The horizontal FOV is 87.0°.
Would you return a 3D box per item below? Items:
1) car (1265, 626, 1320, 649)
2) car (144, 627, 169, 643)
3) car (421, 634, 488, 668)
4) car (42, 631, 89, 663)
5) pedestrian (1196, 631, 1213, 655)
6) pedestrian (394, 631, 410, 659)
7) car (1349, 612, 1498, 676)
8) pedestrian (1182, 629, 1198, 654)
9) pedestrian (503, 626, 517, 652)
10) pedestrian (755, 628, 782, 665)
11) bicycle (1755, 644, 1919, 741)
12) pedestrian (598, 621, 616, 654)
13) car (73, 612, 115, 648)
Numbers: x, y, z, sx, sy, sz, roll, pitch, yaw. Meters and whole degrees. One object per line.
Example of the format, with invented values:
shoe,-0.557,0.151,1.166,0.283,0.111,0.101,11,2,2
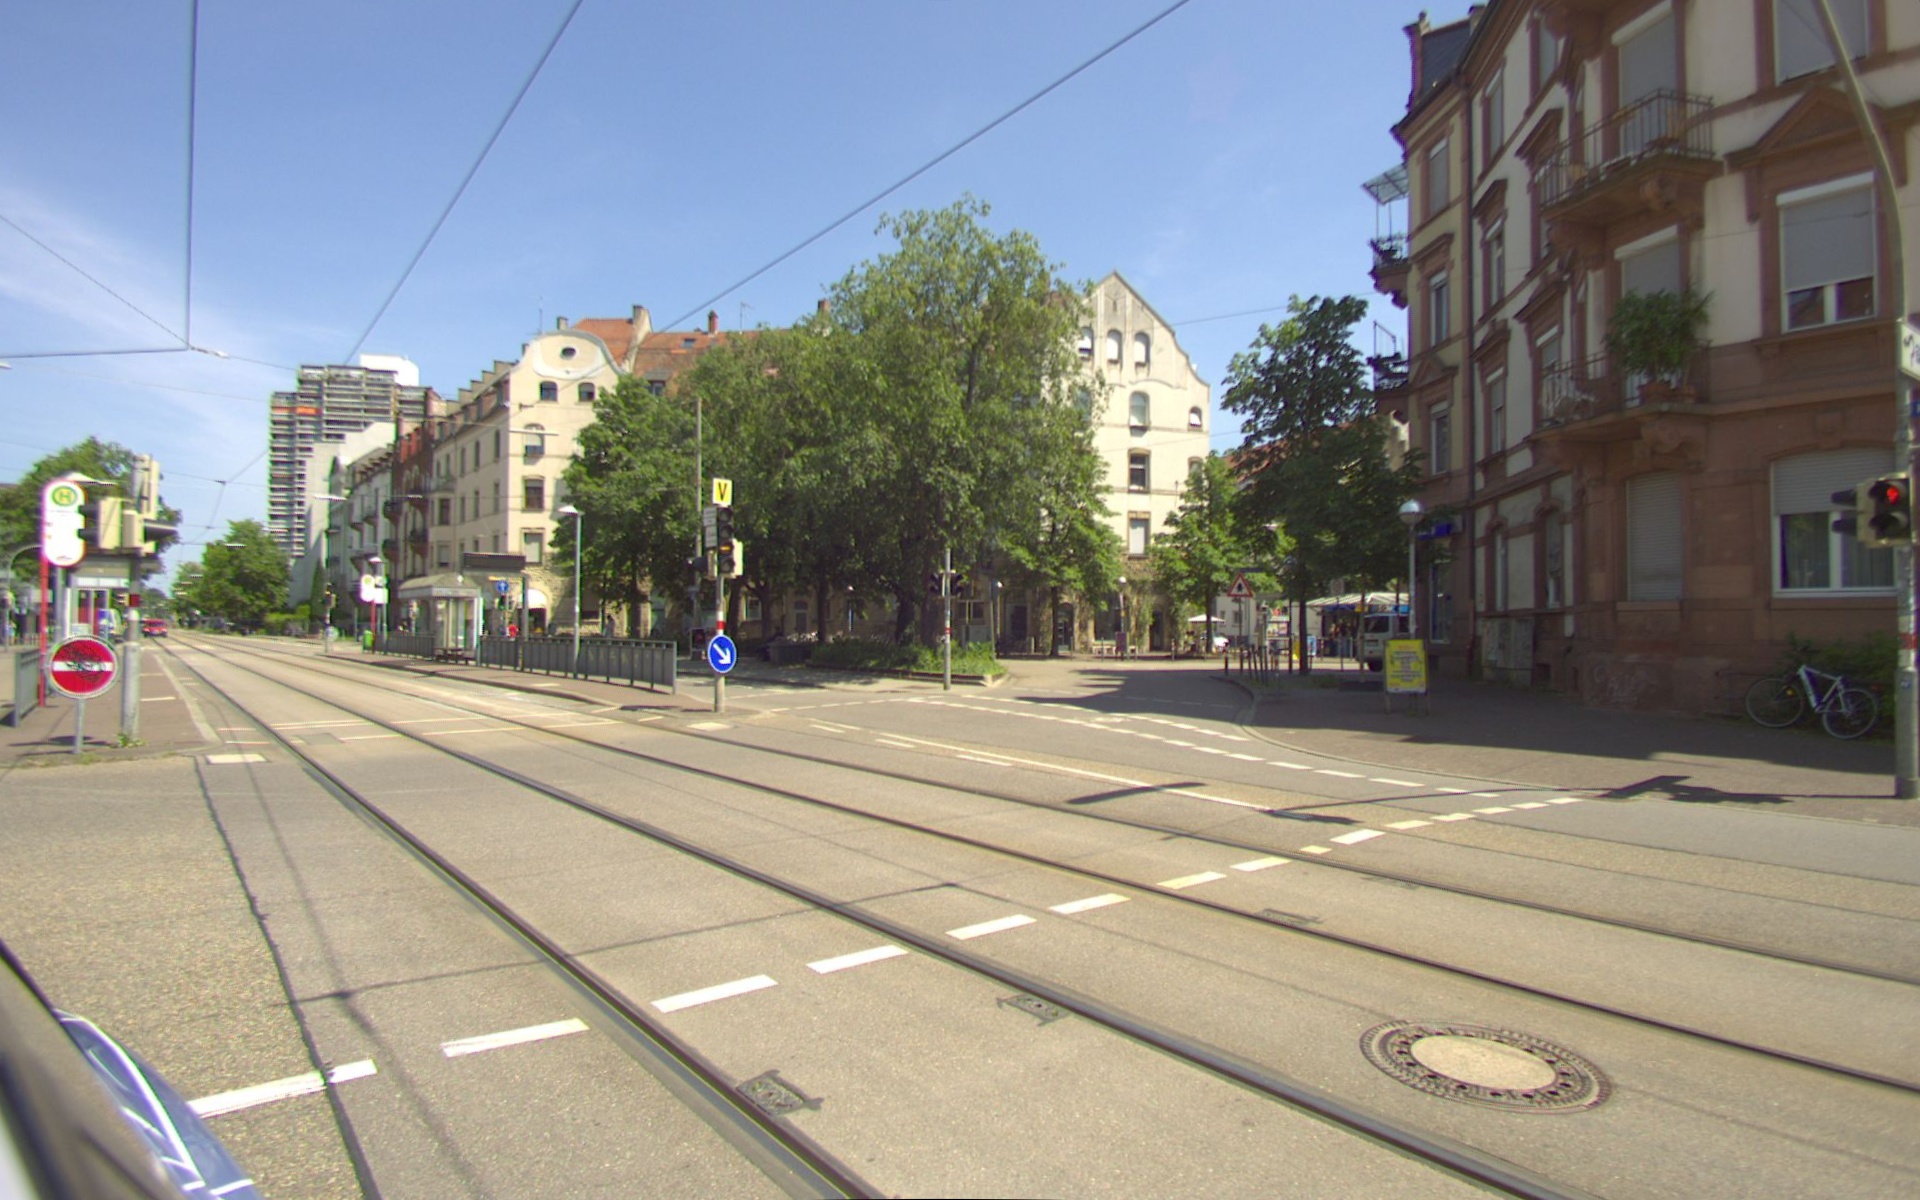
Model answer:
car,25.178,2.822,76.741,1.780,1.711,4.013,0,-2,-21
car,-79.705,3.456,100.354,1.711,1.564,4.430,2,-3,-41
car,-21.141,2.093,42.258,1.671,1.320,3.855,1,-2,-40
car,-46.510,2.424,52.640,1.711,1.564,4.430,2,-3,-41
pedestrian,13.974,2.441,57.889,0.691,1.360,0.605,1,-2,-28
pedestrian,-35.076,2.820,63.583,0.795,1.733,0.765,1,-2,-24
car,15.925,1.478,34.783,4.510,2.082,2.006,0,-2,-20
pedestrian,12.944,2.339,56.930,0.703,1.360,0.595,-2,-3,44
pedestrian,-25.147,2.156,56.520,0.520,1.452,0.529,-2,-2,40
pedestrian,-6.999,1.706,36.987,0.810,1.327,0.654,1,-2,-34
bicycle,11.188,1.134,12.932,0.460,1.116,1.924,0,-2,-2
pedestrian,-15.829,1.683,45.386,0.520,1.452,0.529,-2,-2,40
car,-62.988,2.165,73.599,2.203,2.511,5.274,2,-1,-41
